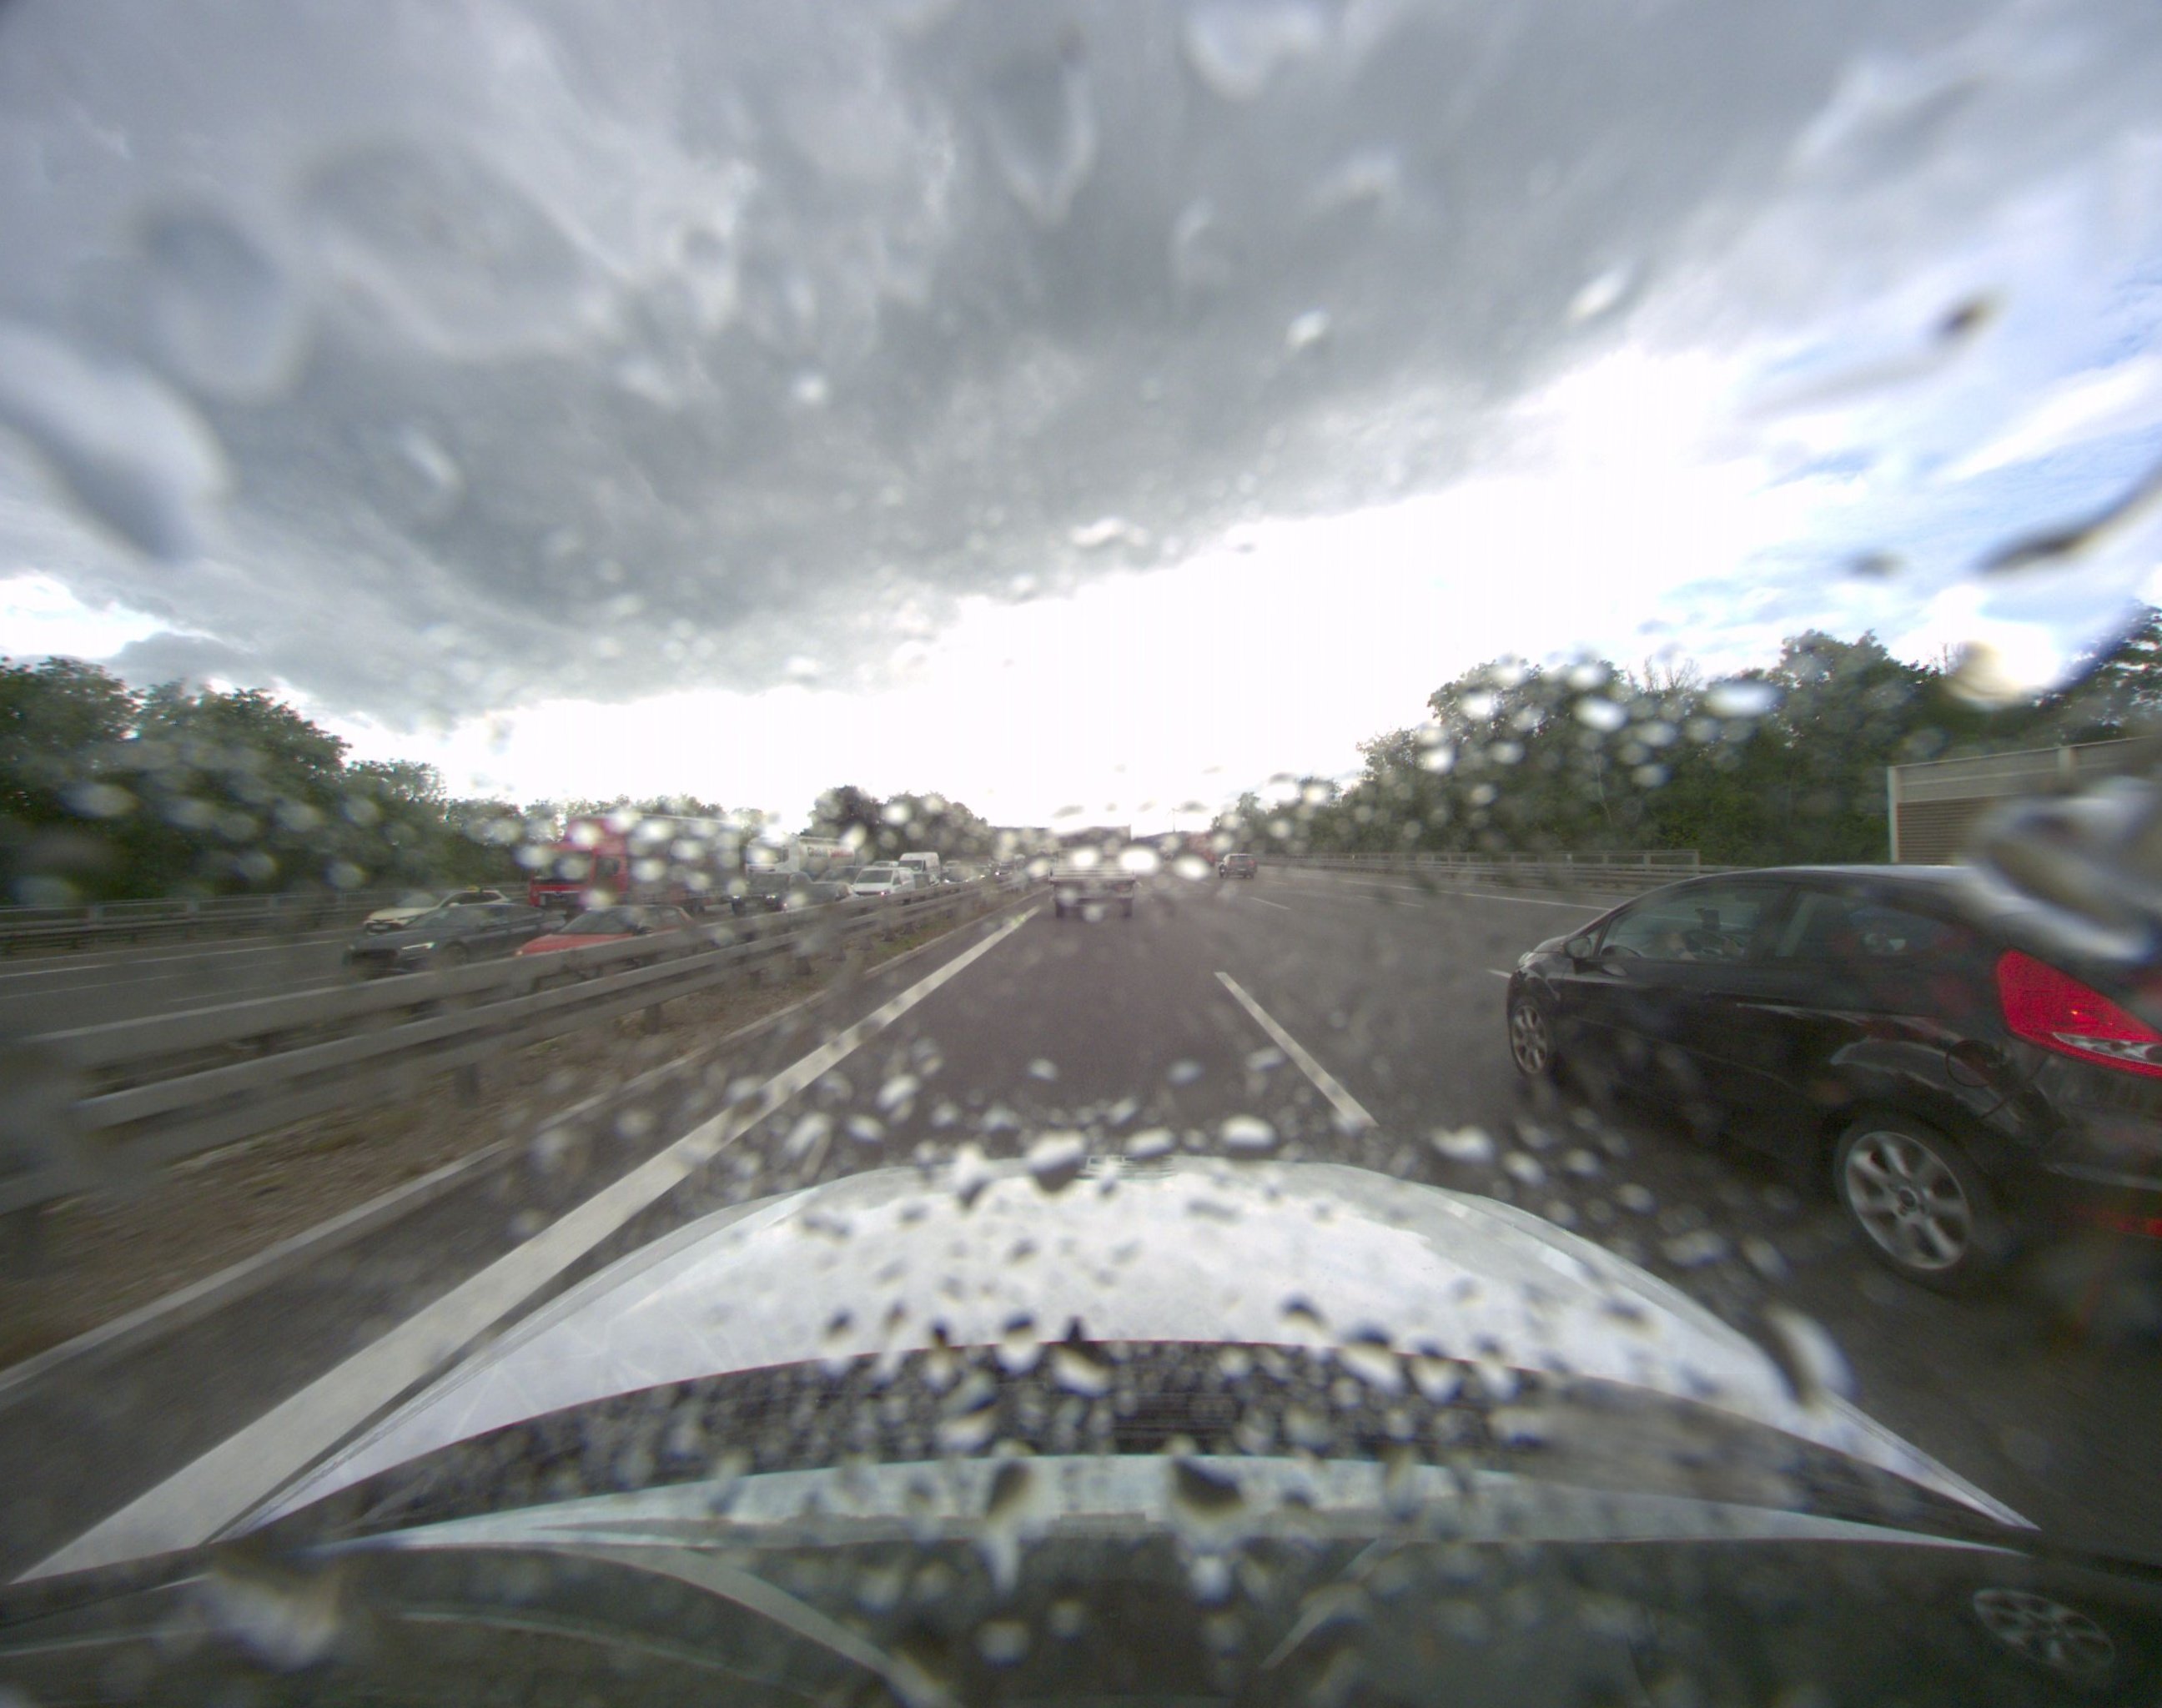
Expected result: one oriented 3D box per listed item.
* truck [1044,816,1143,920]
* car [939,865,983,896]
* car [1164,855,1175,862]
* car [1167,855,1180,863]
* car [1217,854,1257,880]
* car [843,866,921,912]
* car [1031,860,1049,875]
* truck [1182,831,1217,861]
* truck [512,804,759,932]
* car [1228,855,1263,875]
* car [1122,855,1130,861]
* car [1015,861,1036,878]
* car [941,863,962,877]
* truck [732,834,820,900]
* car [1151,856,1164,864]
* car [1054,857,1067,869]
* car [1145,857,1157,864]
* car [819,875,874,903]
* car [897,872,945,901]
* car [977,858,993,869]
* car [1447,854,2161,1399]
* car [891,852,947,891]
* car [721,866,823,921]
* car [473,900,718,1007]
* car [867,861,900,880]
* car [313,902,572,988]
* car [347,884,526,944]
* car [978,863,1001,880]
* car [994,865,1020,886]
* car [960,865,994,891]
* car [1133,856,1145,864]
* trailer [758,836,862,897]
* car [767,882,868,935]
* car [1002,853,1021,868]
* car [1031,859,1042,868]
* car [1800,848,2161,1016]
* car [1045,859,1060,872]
[{"bbox_3d":[0.347,0.362,22.857,2.299,2.440,7.149,-1,-1,1],"label":"truck"},{"bbox_3d":[-7.852,1.698,53.734,1.887,1.801,5.571,-2,0,1],"label":"car"},{"bbox_3d":[20.494,1.051,188.425,1.962,1.561,4.431,-2,0,-1],"label":"car"},{"bbox_3d":[18.789,1.003,165.665,1.962,1.561,4.431,-2,0,-1],"label":"car"},{"bbox_3d":[9.901,0.825,51.975,1.875,1.542,4.435,-2,0,2],"label":"car"},{"bbox_3d":[-8.805,1.484,36.590,1.887,1.801,5.843,-2,0,1],"label":"car"},{"bbox_3d":[-5.408,1.797,108.548,1.886,1.801,4.598,-2,0,2],"label":"car"},{"bbox_3d":[15.338,-1.063,106.398,3.140,3.601,12.707,0,1,2],"label":"truck"},{"bbox_3d":[-17.047,0.496,32.867,2.787,4.112,12.299,-2,0,2],"label":"truck"},{"bbox_3d":[13.640,0.882,67.800,1.877,1.561,4.431,-2,0,-1],"label":"car"},{"bbox_3d":[12.824,1.022,230.648,1.962,1.561,4.431,-2,0,-1],"label":"car"},{"bbox_3d":[-6.322,1.767,93.981,1.886,1.801,4.598,-2,0,2],"label":"car"},{"bbox_3d":[-17.401,2.142,109.286,1.886,1.801,4.598,-2,0,2],"label":"car"},{"bbox_3d":[-20.139,0.814,54.259,3.011,4.052,6.537,-2,0,3],"label":"truck"},{"bbox_3d":[14.894,1.155,158.881,1.962,1.561,4.431,-2,0,-1],"label":"car"},{"bbox_3d":[-3.500,1.520,138.359,1.886,1.801,4.598,-2,0,2],"label":"car"},{"bbox_3d":[15.594,1.438,181.253,1.963,1.561,4.429,-2,0,-2],"label":"car"},{"bbox_3d":[-12.769,1.879,44.587,1.616,1.297,4.252,-2,0,1],"label":"car"},{"bbox_3d":[-8.360,1.667,42.871,1.616,1.297,4.252,-2,0,1],"label":"car"},{"bbox_3d":[-15.995,1.567,135.334,1.886,1.801,4.598,-2,0,2],"label":"car"},{"bbox_3d":[3.702,0.739,4.269,1.711,1.417,4.279,0,-1,1],"label":"car"},{"bbox_3d":[-11.844,1.236,60.266,2.118,2.636,7.615,-2,0,3],"label":"car"},{"bbox_3d":[-12.652,1.546,33.790,1.886,1.962,5.590,-2,0,2],"label":"car"},{"bbox_3d":[-8.915,1.749,15.519,1.887,1.460,4.479,-2,0,1],"label":"car"},{"bbox_3d":[-19.631,1.638,81.066,1.886,1.801,4.598,-2,0,2],"label":"car"},{"bbox_3d":[-13.446,1.851,17.614,1.887,1.297,4.581,-2,0,1],"label":"car"},{"bbox_3d":[-20.987,1.887,26.870,1.887,1.593,4.903,-2,0,1],"label":"car"},{"bbox_3d":[-10.527,1.967,93.723,1.886,1.801,4.598,-2,0,2],"label":"car"},{"bbox_3d":[-6.998,2.007,77.446,1.886,1.801,4.598,-2,0,2],"label":"car"},{"bbox_3d":[-7.878,1.803,62.134,1.887,1.801,4.597,-2,0,1],"label":"car"},{"bbox_3d":[12.049,1.240,169.132,1.962,1.561,4.431,-2,0,-1],"label":"car"},{"bbox_3d":[-19.960,0.857,61.269,2.997,4.032,13.143,-2,0,2],"label":"trailer"},{"bbox_3d":[-8.904,1.791,27.965,1.887,1.488,4.479,-2,0,1],"label":"car"},{"bbox_3d":[-9.305,0.848,109.000,1.886,1.801,4.598,-2,0,2],"label":"car"},{"bbox_3d":[-9.389,2.003,172.638,1.886,1.801,4.598,-2,0,2],"label":"car"},{"bbox_3d":[10.357,0.669,8.559,1.942,1.418,4.234,-2,0,2],"label":"car"},{"bbox_3d":[-4.263,1.660,122.257,1.886,1.801,4.598,-2,0,2],"label":"car"}]
